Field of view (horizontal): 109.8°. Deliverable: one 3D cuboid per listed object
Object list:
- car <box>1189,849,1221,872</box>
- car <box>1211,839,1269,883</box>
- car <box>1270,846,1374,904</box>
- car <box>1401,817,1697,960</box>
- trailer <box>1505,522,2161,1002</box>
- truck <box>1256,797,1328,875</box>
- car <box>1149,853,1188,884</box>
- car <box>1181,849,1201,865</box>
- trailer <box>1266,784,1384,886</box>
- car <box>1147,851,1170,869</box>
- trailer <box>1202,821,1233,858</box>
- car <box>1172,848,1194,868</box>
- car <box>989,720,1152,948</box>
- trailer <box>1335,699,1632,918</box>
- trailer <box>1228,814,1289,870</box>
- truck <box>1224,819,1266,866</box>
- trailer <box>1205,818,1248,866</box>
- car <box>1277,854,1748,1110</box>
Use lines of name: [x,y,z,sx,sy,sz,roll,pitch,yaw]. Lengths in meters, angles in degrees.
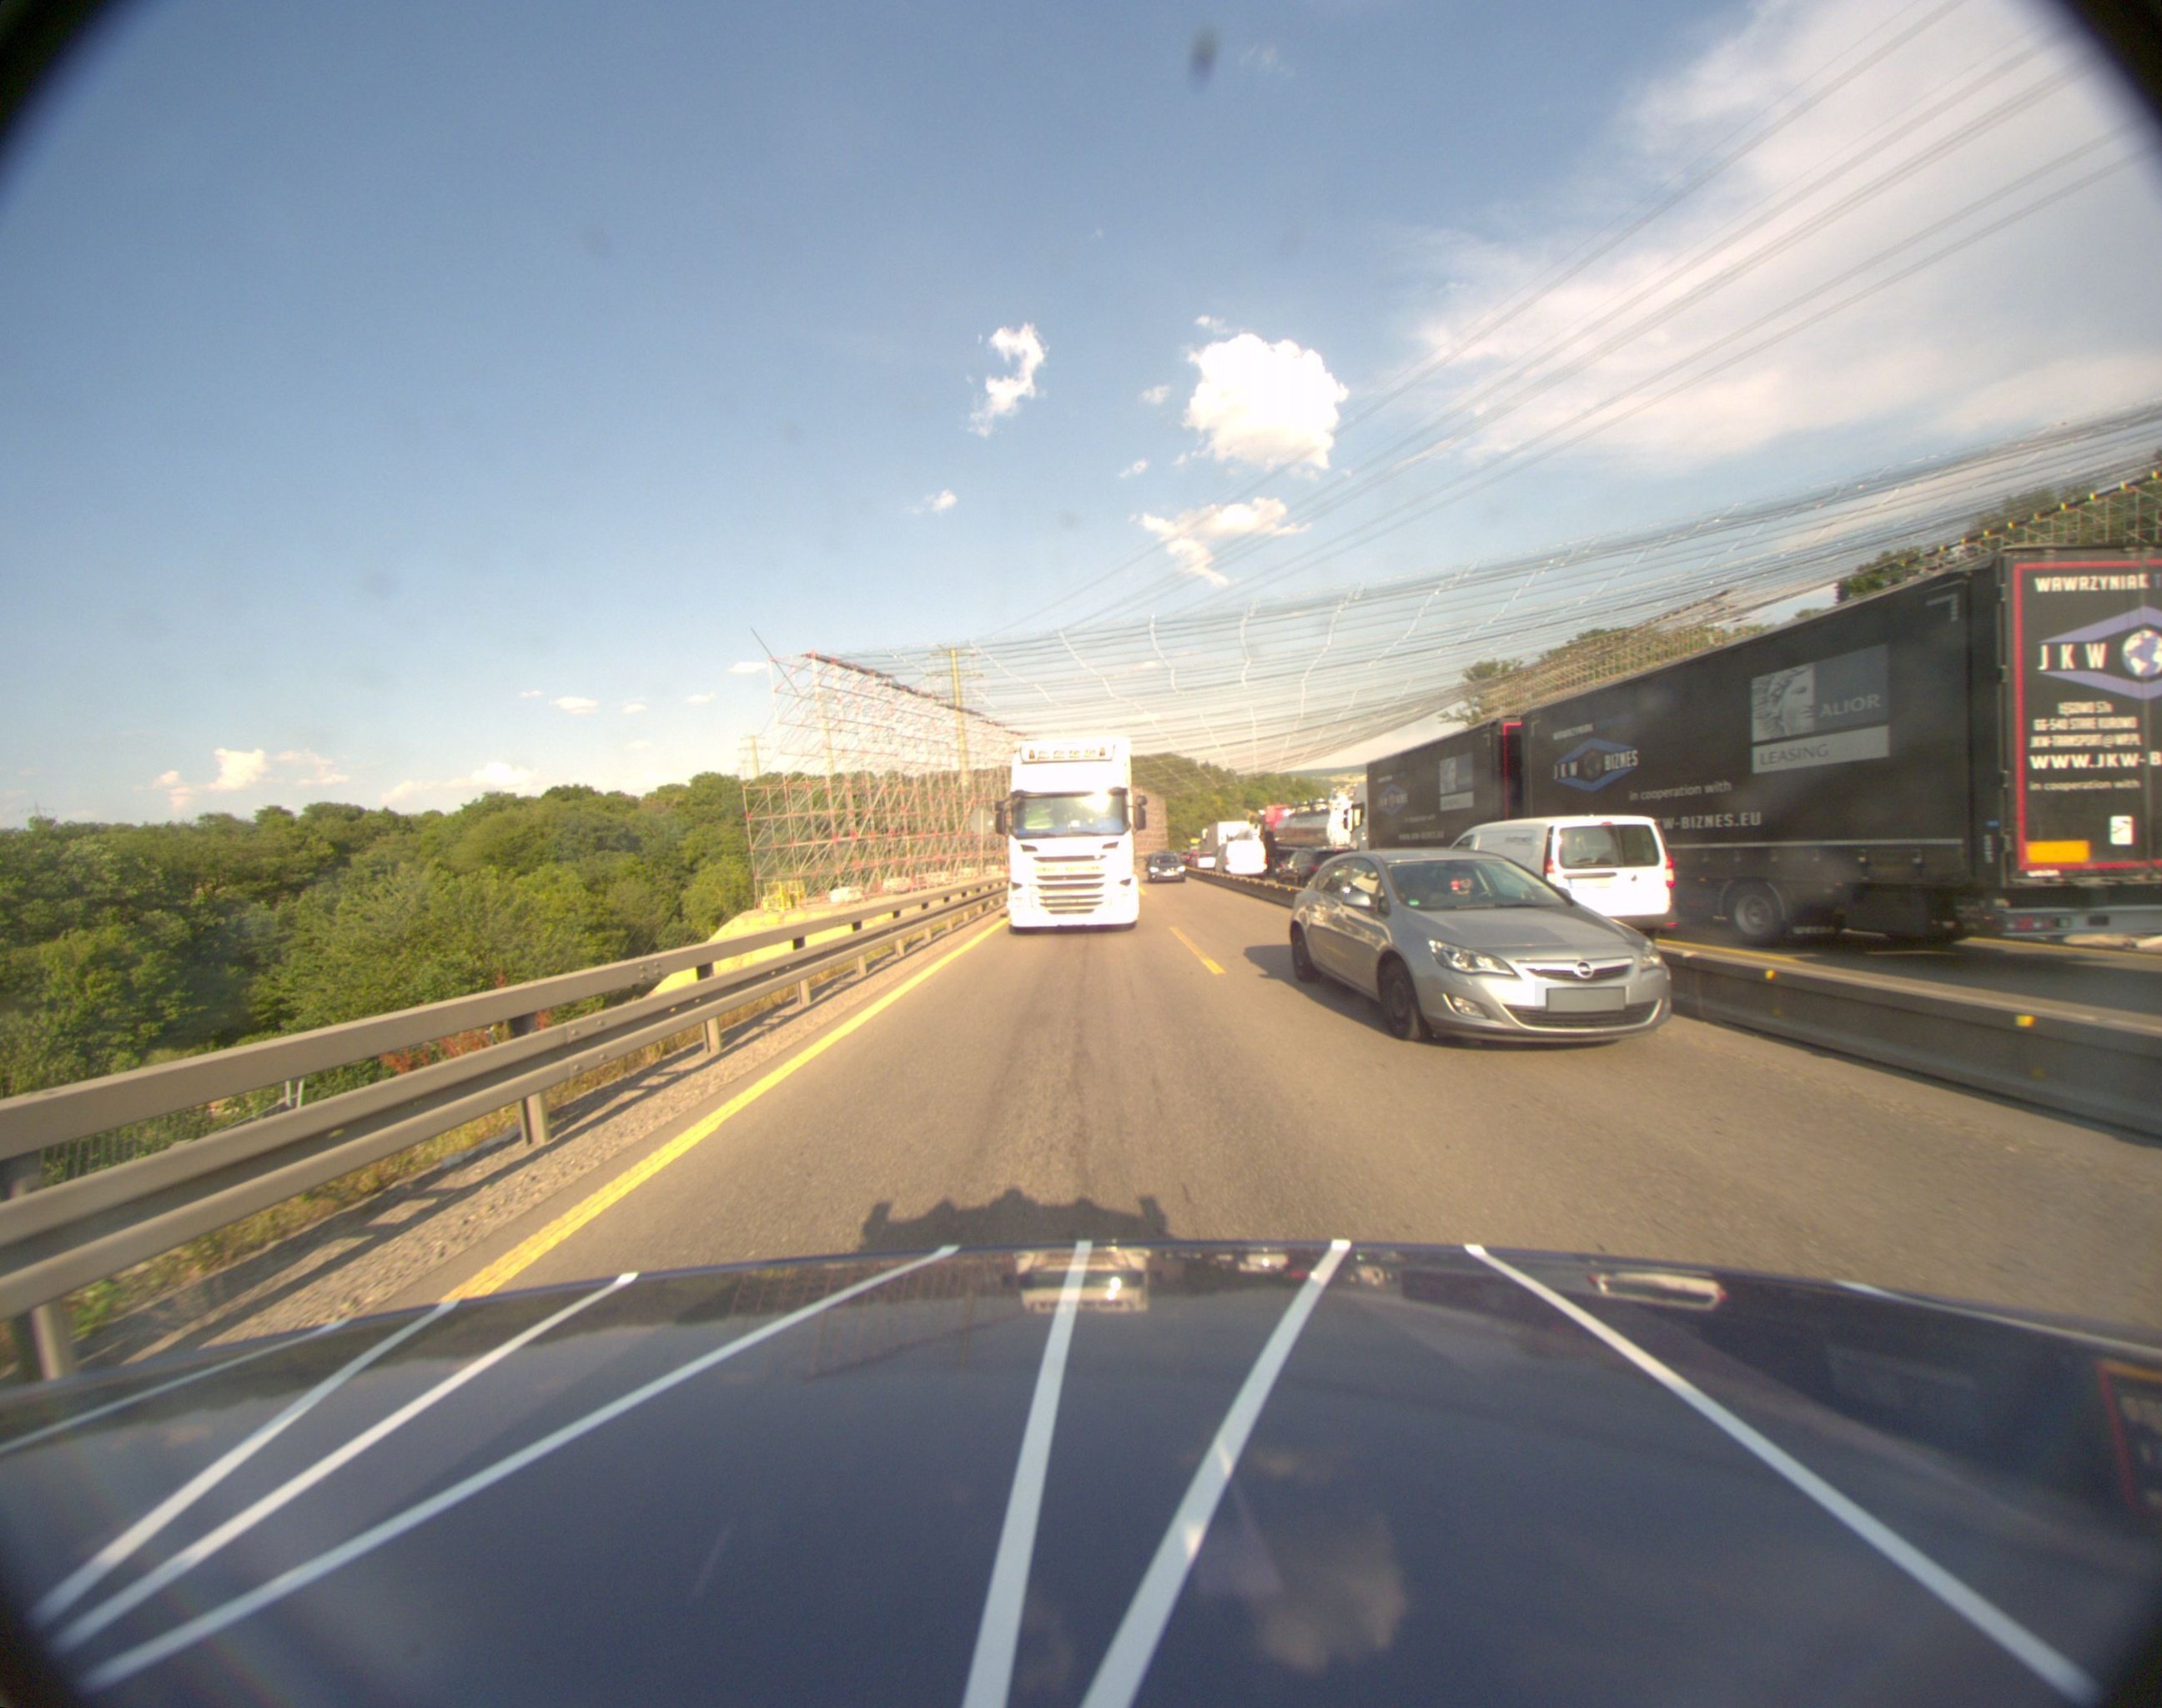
car: [8.700,0.429,53.616,1.631,1.418,4.658,-2,1,3]
car: [7.545,0.299,36.485,1.821,1.914,4.836,-2,1,1]
car: [6.919,0.538,22.325,1.684,1.470,4.603,-2,1,2]
car: [6.629,0.397,11.468,1.761,1.685,4.453,-2,1,1]
trailer: [9.674,-0.859,10.920,2.449,4.165,8.543,-2,1,1]
truck: [11.133,-0.928,40.546,2.438,3.763,5.617,-2,1,3]
car: [4.313,0.689,37.645,1.764,1.376,3.824,-2,1,6]
car: [11.117,0.294,77.054,1.754,1.577,3.944,-2,1,6]
trailer: [10.688,-0.781,34.762,2.312,3.768,12.054,-2,1,4]
car: [6.397,0.446,63.368,1.675,1.376,3.823,-2,1,3]
trailer: [16.165,-1.705,90.794,2.675,3.992,13.338,-2,1,6]
car: [8.574,0.319,64.002,1.510,1.520,3.587,-2,1,4]
car: [-0.047,-0.399,18.055,2.858,4.092,8.280,-2,1,2]
trailer: [9.823,-0.961,20.452,2.482,4.303,10.510,-2,1,1]
trailer: [11.897,-0.821,52.106,2.312,3.342,12.055,-2,1,5]
truck: [12.458,-0.891,58.055,2.419,3.351,5.619,-2,1,5]
trailer: [13.580,-1.108,71.776,2.433,3.940,14.102,-2,1,5]
car: [3.194,0.783,6.802,1.760,1.464,4.352,-2,1,1]
